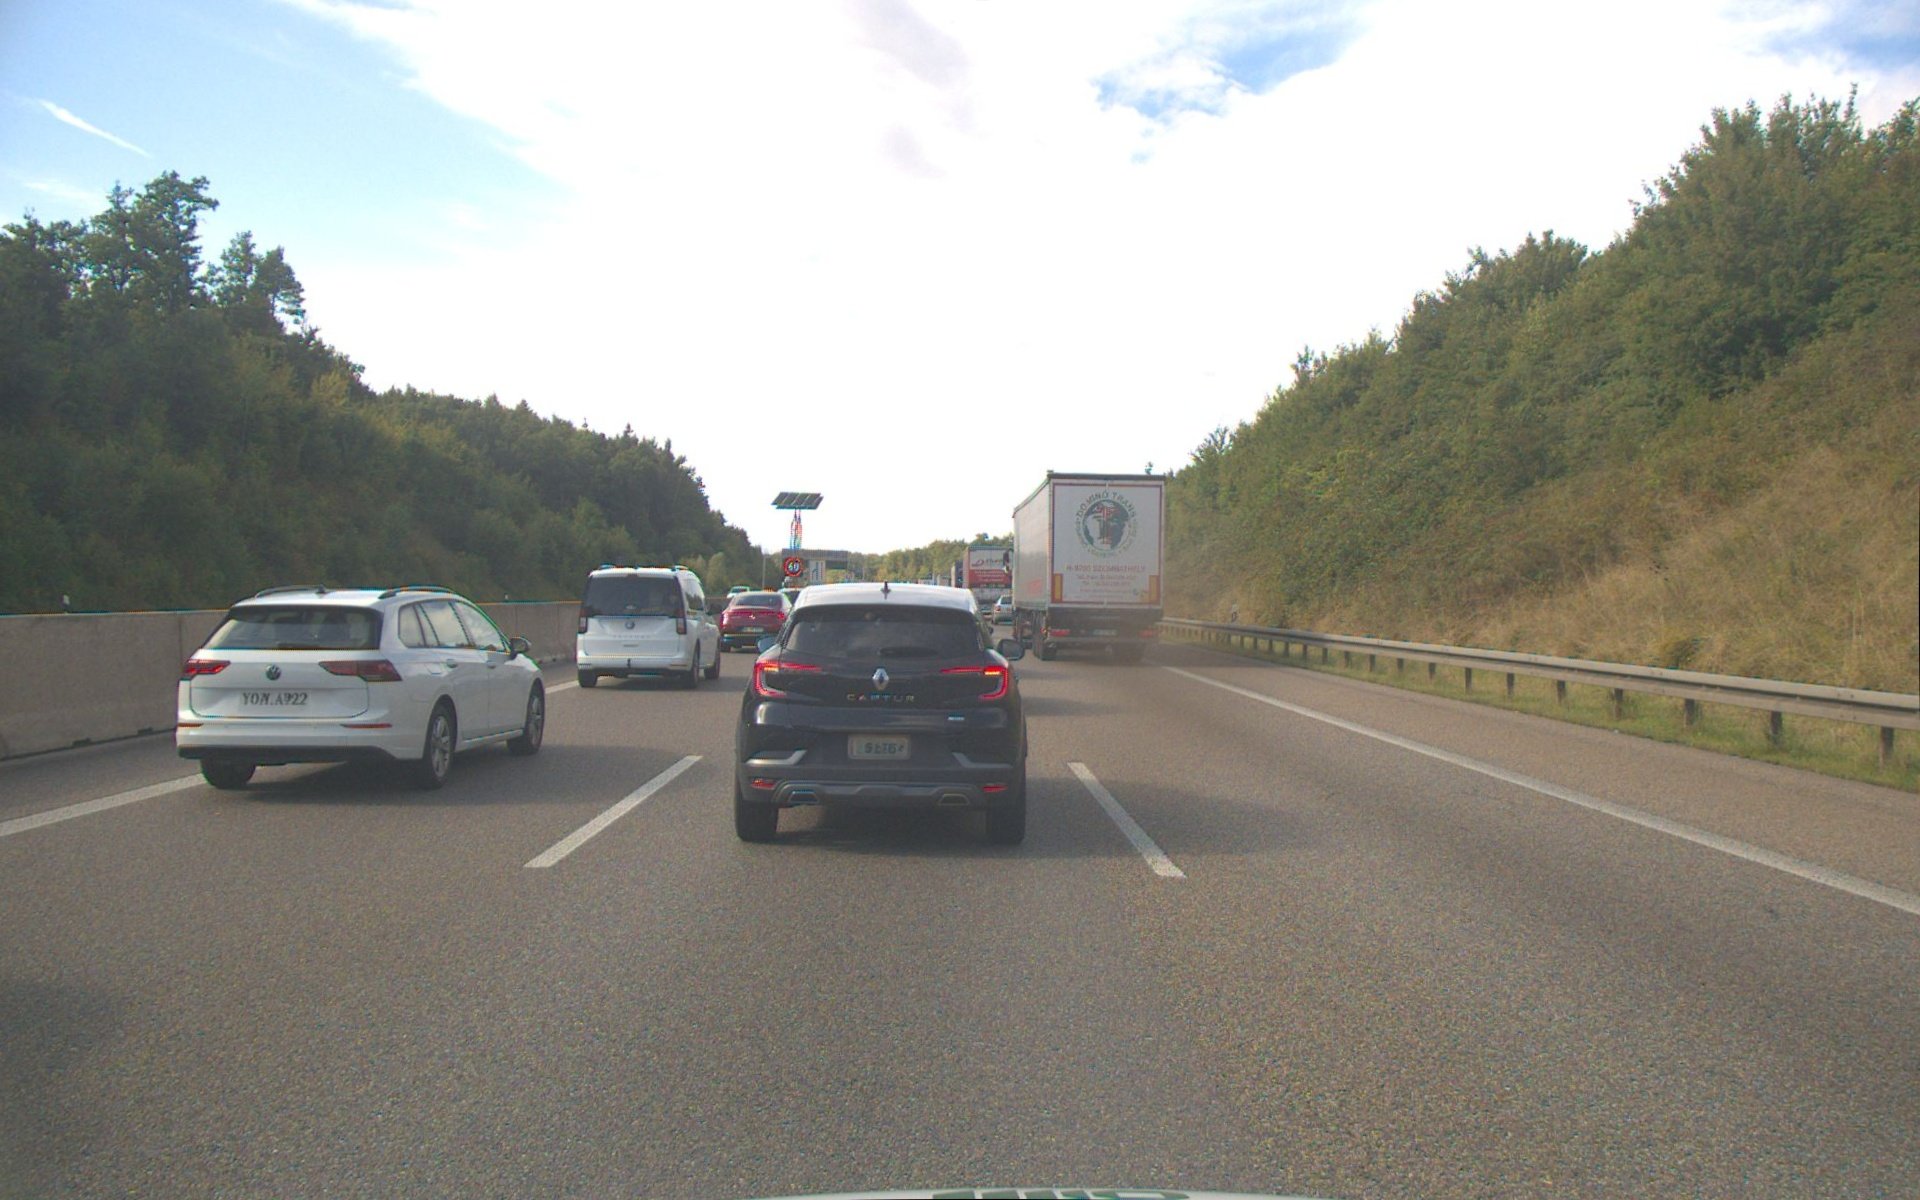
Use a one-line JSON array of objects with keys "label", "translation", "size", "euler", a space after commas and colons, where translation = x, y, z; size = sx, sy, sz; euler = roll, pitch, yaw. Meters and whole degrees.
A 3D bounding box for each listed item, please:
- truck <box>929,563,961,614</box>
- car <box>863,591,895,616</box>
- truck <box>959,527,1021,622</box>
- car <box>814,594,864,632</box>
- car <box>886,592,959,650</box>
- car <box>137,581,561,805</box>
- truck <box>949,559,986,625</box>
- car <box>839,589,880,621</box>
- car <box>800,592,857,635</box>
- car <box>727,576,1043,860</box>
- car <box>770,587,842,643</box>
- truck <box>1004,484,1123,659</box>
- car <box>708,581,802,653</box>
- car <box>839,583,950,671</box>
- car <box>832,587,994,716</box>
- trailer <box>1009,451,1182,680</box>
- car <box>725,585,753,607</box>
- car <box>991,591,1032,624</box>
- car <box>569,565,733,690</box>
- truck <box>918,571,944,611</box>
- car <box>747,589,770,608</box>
[{"label": "truck", "translation": [-1.642, -1.220, 187.374], "size": [3.101, 5.601, 12.739], "euler": [1, 0, 1]}, {"label": "car", "translation": [-5.407, 0.205, 111.050], "size": [1.953, 1.641, 4.000], "euler": [1, 0, 0]}, {"label": "truck", "translation": [1.639, -1.374, 96.353], "size": [3.296, 5.132, 12.736], "euler": [1, 0, 0]}, {"label": "car", "translation": [-5.361, 0.574, 73.636], "size": [1.953, 1.641, 3.999], "euler": [1, 0, 0]}, {"label": "car", "translation": [-1.030, 0.569, 46.915], "size": [1.953, 1.540, 3.999], "euler": [1, 0, 0]}, {"label": "car", "translation": [-4.621, 0.631, 13.262], "size": [1.767, 1.486, 4.308], "euler": [0, 0, 0]}, {"label": "truck", "translation": [0.660, -0.645, 146.668], "size": [3.102, 5.601, 12.736], "euler": [1, 0, 0]}, {"label": "car", "translation": [-5.338, 0.231, 88.167], "size": [1.953, 1.641, 4.000], "euler": [1, 0, 0]}, {"label": "car", "translation": [-5.232, 0.541, 66.103], "size": [1.953, 1.641, 3.999], "euler": [1, 0, 0]}, {"label": "car", "translation": [-0.369, 0.659, 11.282], "size": [1.767, 1.579, 4.001], "euler": [0, 0, 2]}, {"label": "car", "translation": [-5.008, 0.491, 54.277], "size": [1.953, 1.752, 3.999], "euler": [1, 0, 0]}, {"label": "truck", "translation": [2.909, -0.799, 48.145], "size": [2.936, 4.749, 5.938], "euler": [1, 0, -1]}, {"label": "car", "translation": [-5.053, 0.414, 41.204], "size": [1.817, 1.669, 3.925], "euler": [1, 0, 0]}, {"label": "car", "translation": [-1.178, 0.496, 31.472], "size": [1.953, 1.540, 3.999], "euler": [1, 0, 0]}, {"label": "car", "translation": [-0.580, 0.634, 22.100], "size": [1.953, 1.540, 3.999], "euler": [1, 0, 0]}, {"label": "trailer", "translation": [3.025, -0.757, 41.210], "size": [2.941, 4.742, 13.287], "euler": [1, 0, -1]}, {"label": "car", "translation": [-19.193, -0.360, 143.882], "size": [1.814, 1.841, 4.923], "euler": [1, 0, -1]}, {"label": "car", "translation": [2.489, 0.363, 80.888], "size": [1.768, 1.559, 3.924], "euler": [1, 0, -2]}, {"label": "car", "translation": [-4.836, 0.414, 26.475], "size": [1.873, 1.821, 4.416], "euler": [1, 0, -2]}, {"label": "truck", "translation": [-3.837, -1.156, 222.172], "size": [3.102, 5.250, 12.736], "euler": [1, 0, 0]}, {"label": "car", "translation": [-20.358, -0.175, 167.301], "size": [1.814, 1.841, 4.923], "euler": [1, 0, -1]}]
